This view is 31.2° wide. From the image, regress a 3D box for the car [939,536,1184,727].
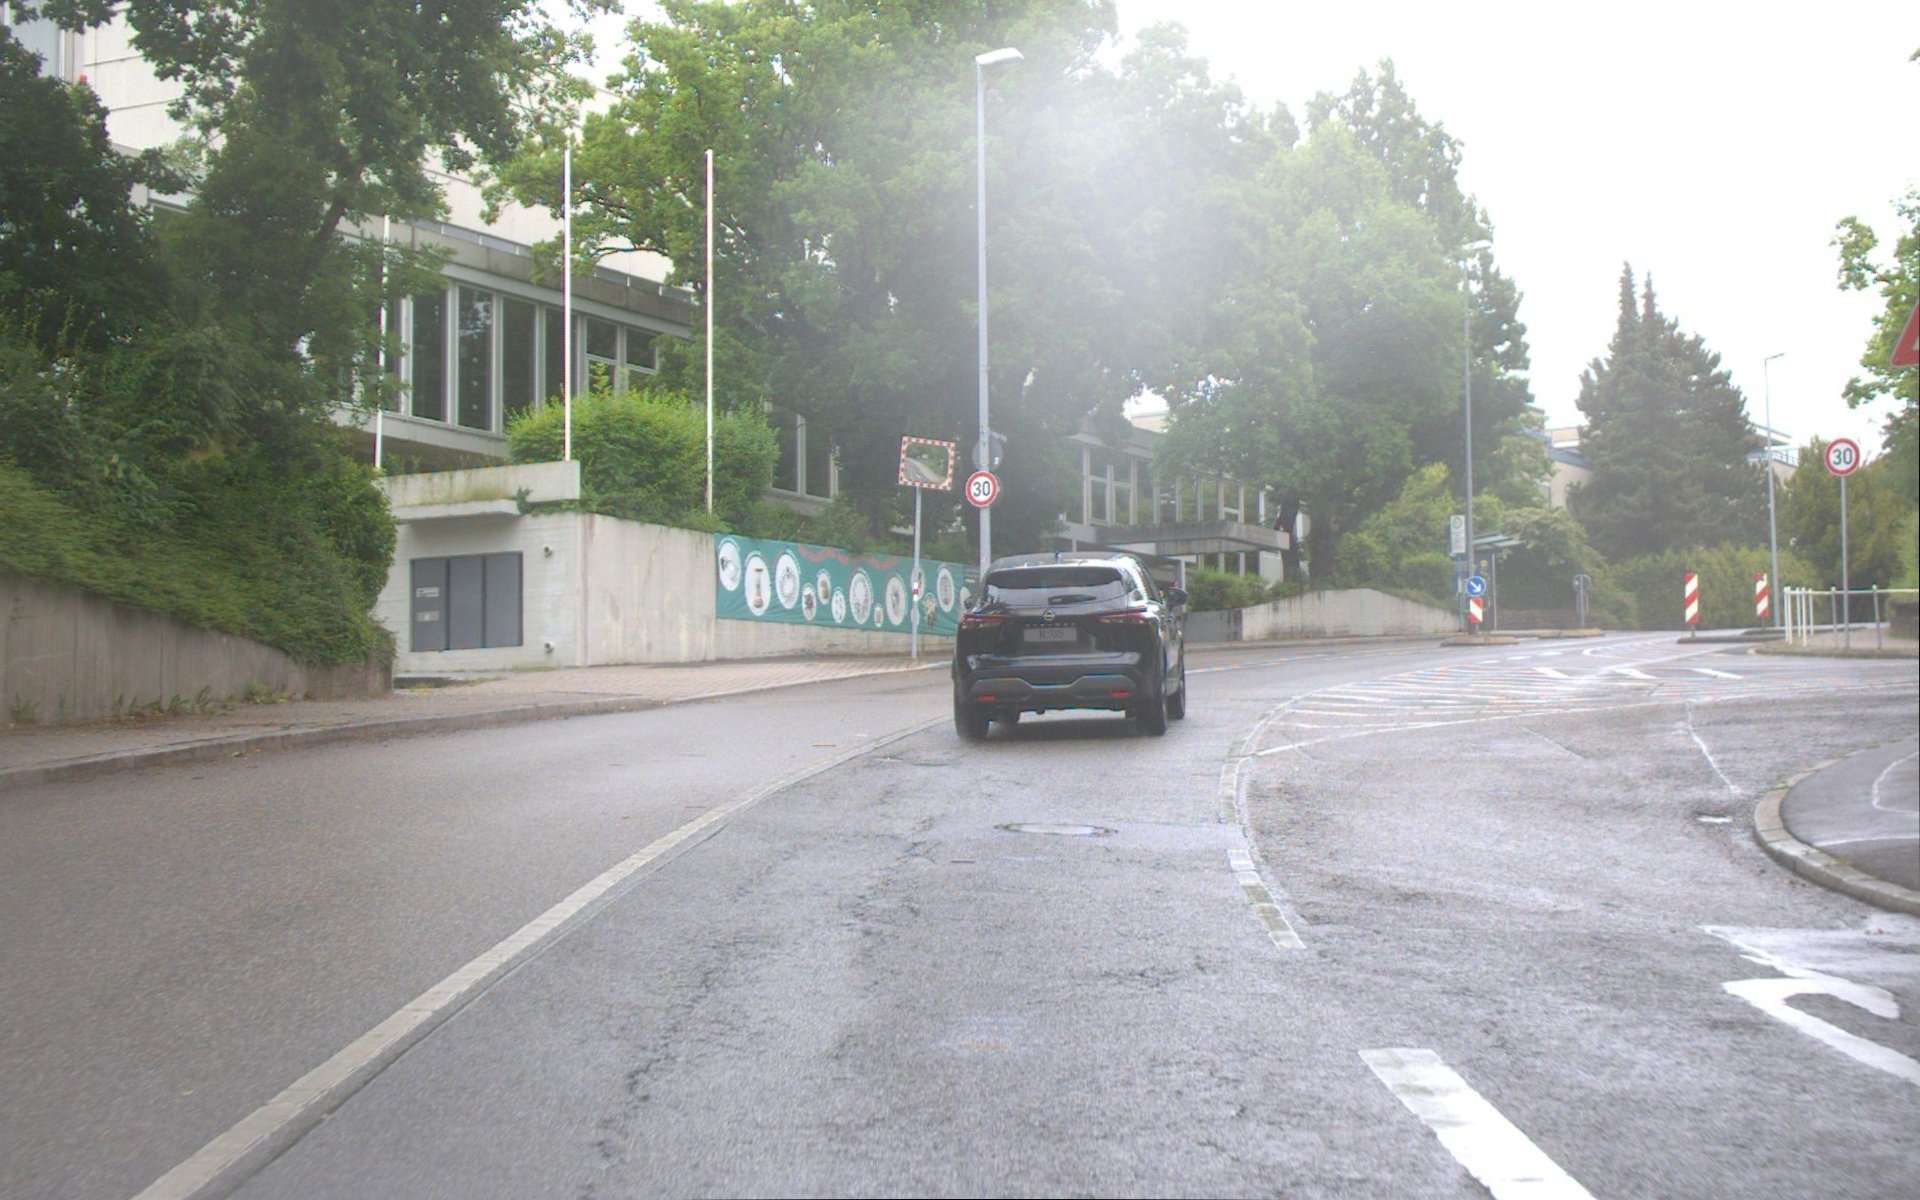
[{"bbox_3d":[0.982,0.235,30.965,1.928,1.607,3.999,0,1,6],"label":"car"}]
